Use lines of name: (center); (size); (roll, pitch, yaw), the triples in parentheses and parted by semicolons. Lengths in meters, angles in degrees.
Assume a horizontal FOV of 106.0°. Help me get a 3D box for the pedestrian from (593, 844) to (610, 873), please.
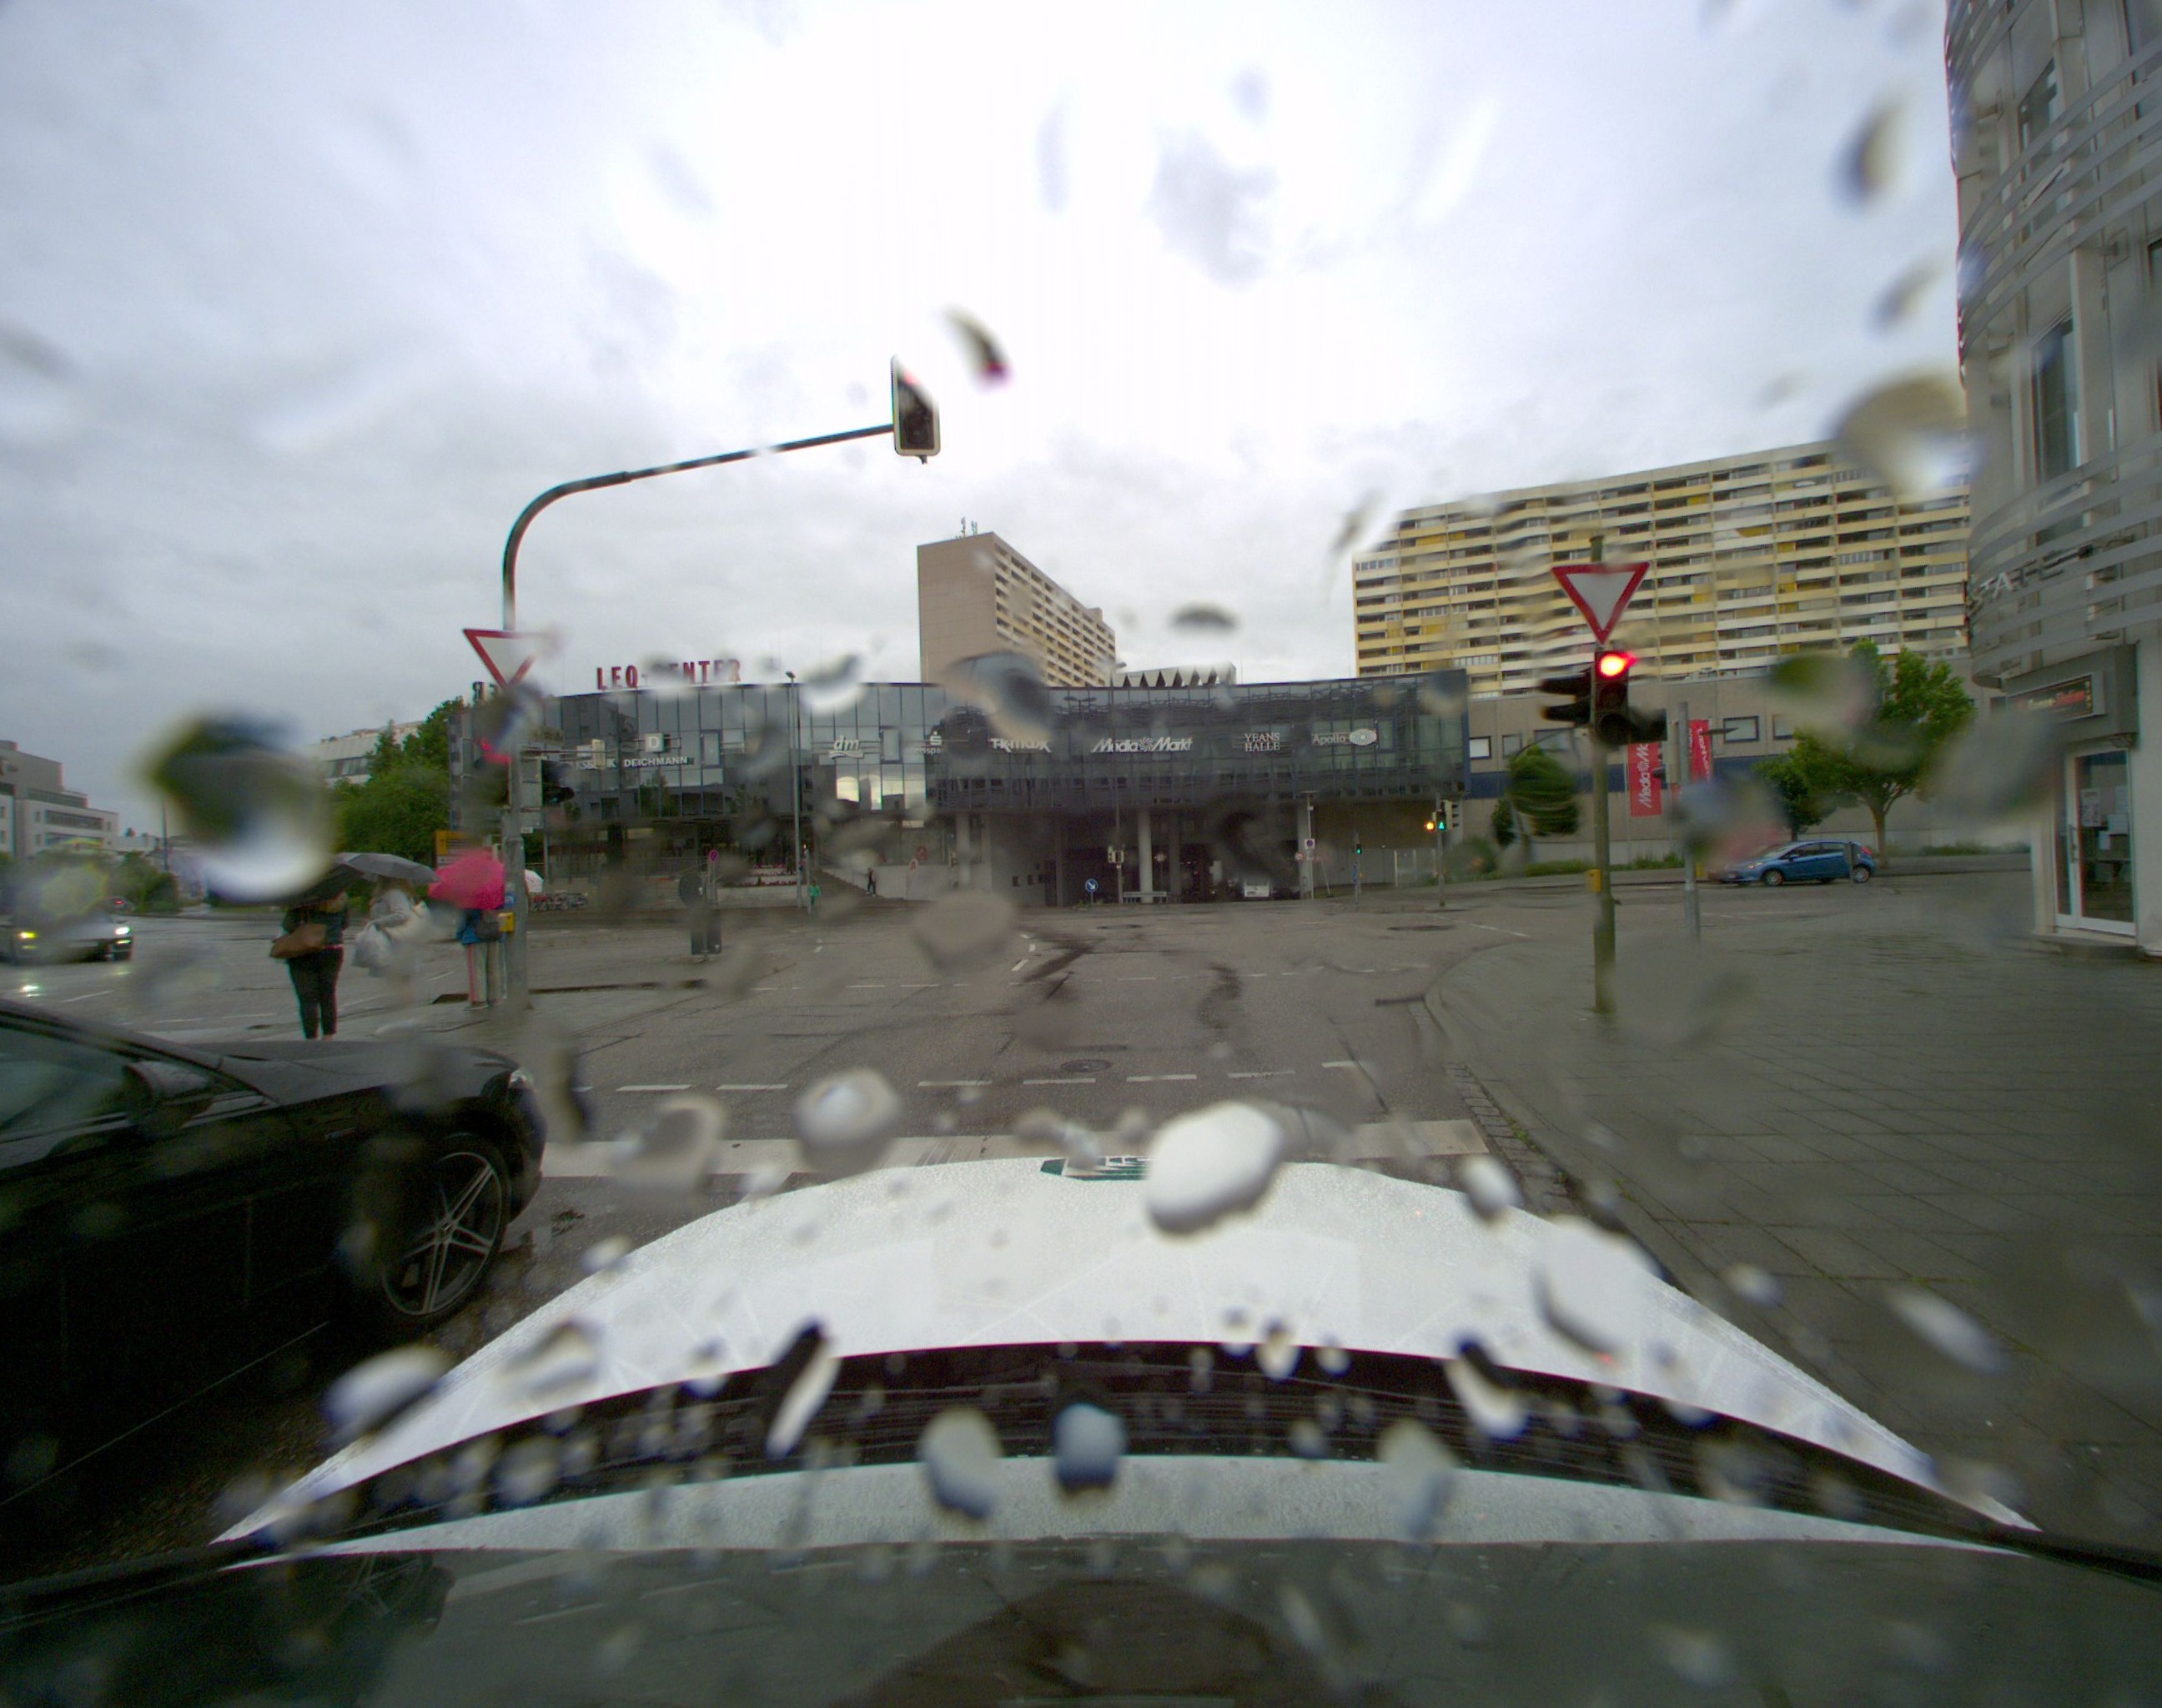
pedestrian: (-28.687, 0.292, 48.759); (0.592, 1.714, 0.658); (-1, -1, 26)

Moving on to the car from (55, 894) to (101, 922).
car: (-74.450, 3.973, 60.433); (4.085, 1.896, 2.062); (-1, -1, 38)

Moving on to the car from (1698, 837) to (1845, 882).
car: (25.211, 0.210, 29.875); (3.660, 1.395, 1.750); (-3, -2, 12)

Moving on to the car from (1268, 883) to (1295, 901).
car: (16.441, 3.137, 66.682); (1.765, 1.400, 4.017); (-3, -4, 18)

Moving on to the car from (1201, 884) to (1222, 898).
car: (16.403, 4.595, 102.390); (1.977, 1.664, 4.018); (0, -1, 18)

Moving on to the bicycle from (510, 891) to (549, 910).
bicycle: (-32.511, 2.740, 48.050); (0.529, 0.951, 1.866); (-1, 2, 24)

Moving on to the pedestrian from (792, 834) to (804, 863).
pedestrian: (-17.590, -0.344, 50.659); (0.633, 1.807, 0.501); (0, -1, -15)

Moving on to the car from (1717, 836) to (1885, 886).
car: (23.785, 0.240, 27.046); (3.818, 1.397, 1.684); (-3, -2, 11)

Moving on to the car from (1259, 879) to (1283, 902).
car: (14.348, 2.780, 61.500); (1.621, 1.612, 4.277); (-4, -4, 13)

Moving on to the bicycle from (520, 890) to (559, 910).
bicycle: (-31.827, 2.696, 47.904); (0.621, 1.033, 1.865); (-3, 2, 21)

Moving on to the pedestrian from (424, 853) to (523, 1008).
pedestrian: (-7.076, 0.851, 9.486); (0.811, 1.685, 0.665); (-1, -2, -44)

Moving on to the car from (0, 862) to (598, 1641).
car: (-2.939, 0.796, 1.448); (1.657, 1.481, 4.095); (0, 1, 1)

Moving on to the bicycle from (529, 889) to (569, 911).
bicycle: (-31.120, 2.684, 47.652); (0.640, 1.042, 1.865); (-3, 2, 21)

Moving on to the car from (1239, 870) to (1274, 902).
car: (10.678, 1.931, 49.324); (1.912, 1.798, 4.311); (-2, -2, 13)

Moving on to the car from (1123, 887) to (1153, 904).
car: (5.283, 3.844, 75.312); (1.756, 1.464, 3.893); (-3, -3, 18)

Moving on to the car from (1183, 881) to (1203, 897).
car: (13.347, 4.164, 96.710); (1.823, 1.728, 4.015); (-2, -1, 14)

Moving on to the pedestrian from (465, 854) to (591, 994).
pedestrian: (-7.041, 0.865, 10.411); (0.932, 1.677, 0.917); (-2, -1, 2)

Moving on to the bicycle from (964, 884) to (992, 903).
bicycle: (-6.300, 2.422, 50.016); (1.590, 1.018, 0.448); (5, -3, -28)

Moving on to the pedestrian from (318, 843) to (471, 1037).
pedestrian: (-6.759, 0.791, 8.020); (1.123, 1.744, 0.865); (-3, -1, 35)

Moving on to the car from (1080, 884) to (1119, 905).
car: (1.466, 3.184, 63.601); (1.877, 1.470, 4.045); (-2, -5, 19)

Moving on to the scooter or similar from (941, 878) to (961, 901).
scooter or similar: (-7.897, 2.138, 49.553); (1.167, 1.373, 0.487); (0, -1, -13)

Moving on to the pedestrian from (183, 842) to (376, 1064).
pedestrian: (-6.861, 0.790, 7.040); (0.956, 1.736, 0.829); (-2, -1, -28)

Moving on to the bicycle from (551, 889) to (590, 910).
bicycle: (-29.538, 2.629, 47.156); (0.624, 1.023, 1.865); (-3, 1, 21)

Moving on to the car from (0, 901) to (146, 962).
car: (-28.008, 2.080, 22.427); (5.079, 1.414, 2.137); (-3, -2, 32)

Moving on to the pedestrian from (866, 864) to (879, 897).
pedestrian: (-12.479, 1.578, 48.751); (0.655, 1.908, 0.593); (-1, -1, -6)

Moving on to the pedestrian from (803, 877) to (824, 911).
pedestrian: (-13.589, 2.022, 41.448); (0.951, 1.623, 0.804); (-2, -1, -17)
